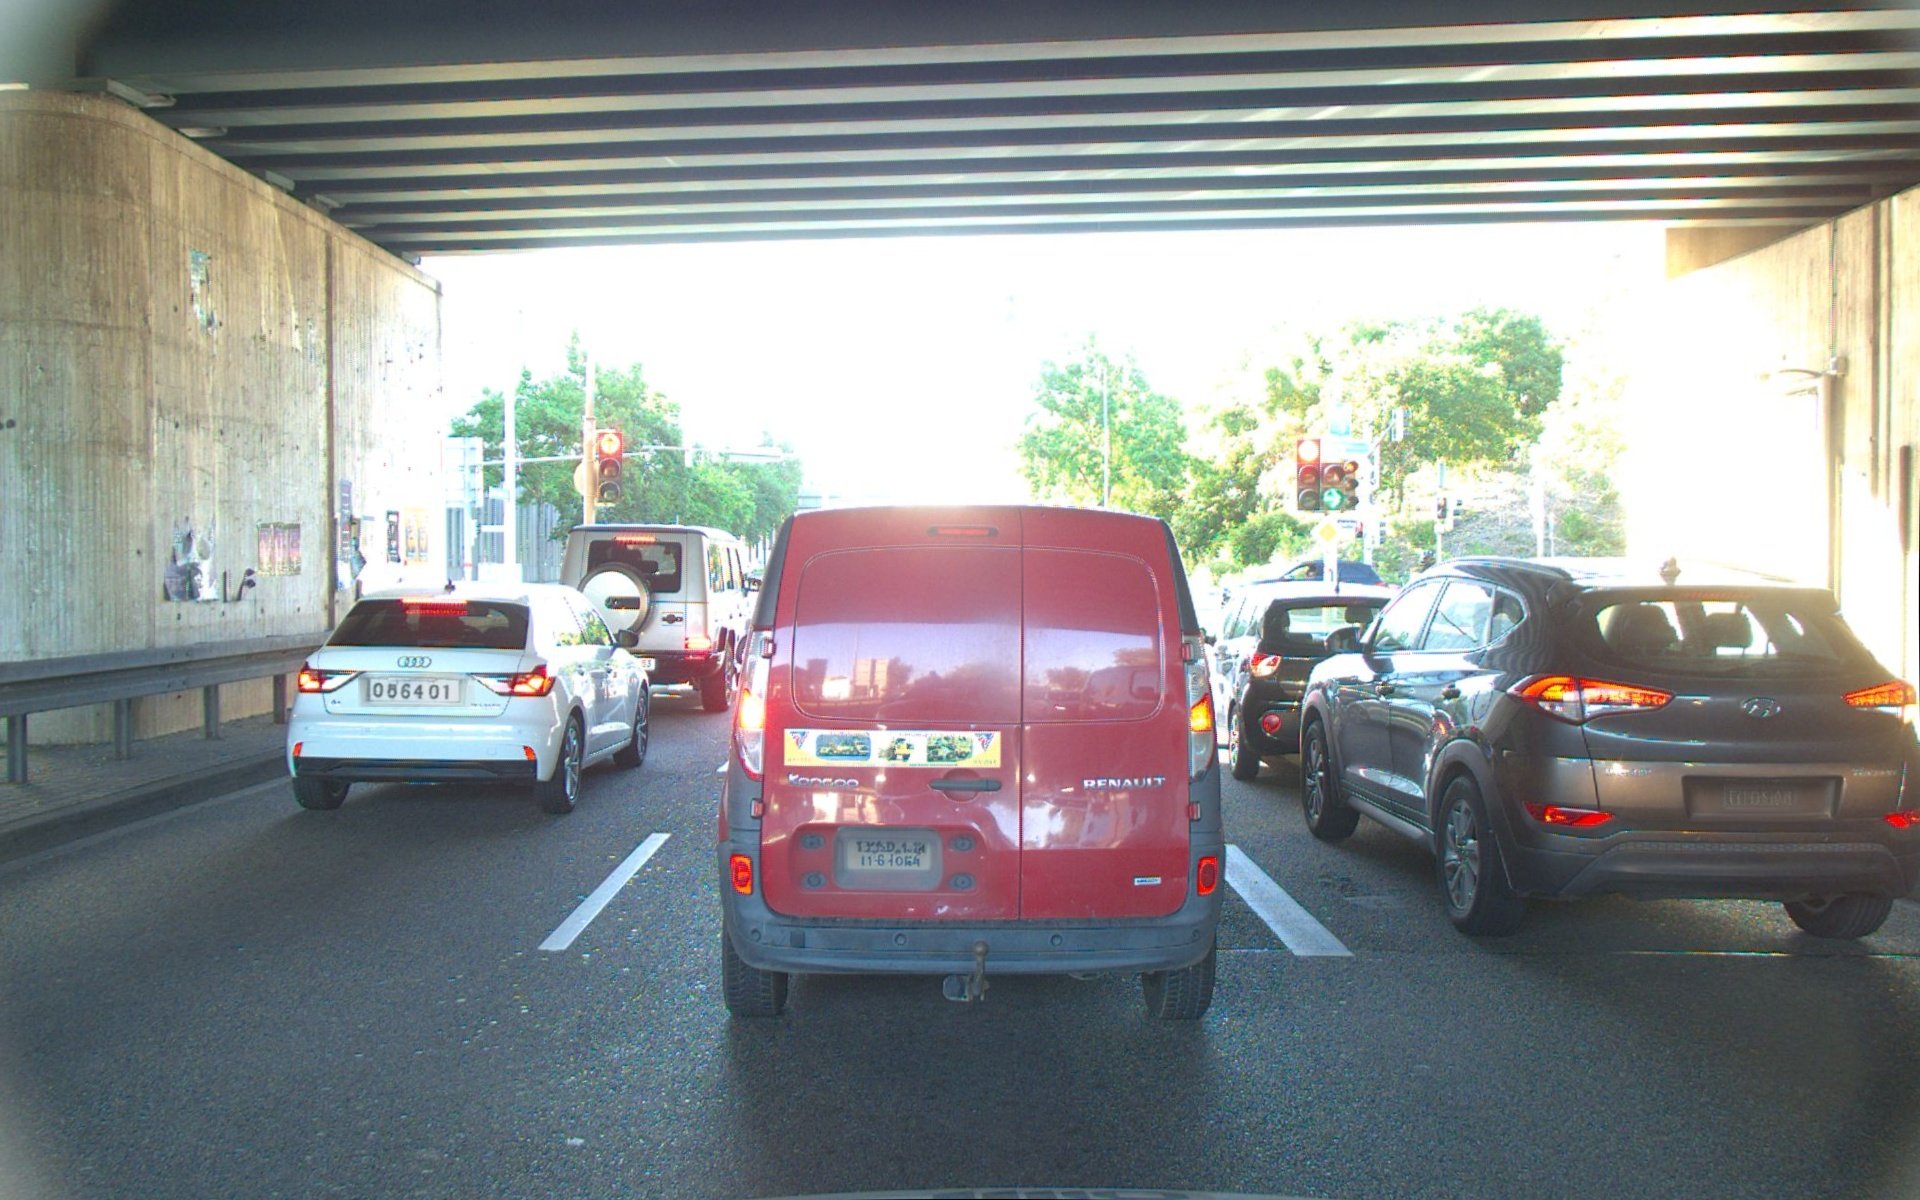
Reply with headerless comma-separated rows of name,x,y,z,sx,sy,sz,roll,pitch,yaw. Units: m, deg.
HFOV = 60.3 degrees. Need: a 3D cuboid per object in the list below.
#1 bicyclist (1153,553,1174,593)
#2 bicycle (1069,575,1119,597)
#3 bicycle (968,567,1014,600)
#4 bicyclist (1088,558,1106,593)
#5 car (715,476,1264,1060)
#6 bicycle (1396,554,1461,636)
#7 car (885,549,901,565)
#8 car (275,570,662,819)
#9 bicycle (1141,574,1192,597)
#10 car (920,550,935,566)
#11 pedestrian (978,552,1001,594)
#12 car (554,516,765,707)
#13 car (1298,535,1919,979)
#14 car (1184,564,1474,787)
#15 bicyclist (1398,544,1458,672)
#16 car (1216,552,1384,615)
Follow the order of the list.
bicyclist,7.974,-1.056,64.766,0.739,1.569,0.696,0,0,0
bicycle,5.309,-0.552,65.523,1.875,0.882,0.605,0,0,-5
bicycle,1.200,-0.632,63.860,1.696,1.254,0.557,0,0,-7
bicyclist,5.428,-0.968,65.545,0.640,1.352,0.602,1,0,-4
car,0.069,0.509,7.148,1.684,1.795,3.999,1,0,-1
bicycle,6.197,-0.062,21.934,0.662,1.042,1.530,1,0,10
car,-9.094,-5.842,224.885,1.953,2.049,3.999,1,0,-1
car,-3.221,0.538,11.602,1.658,1.434,3.812,1,0,-2
bicycle,8.066,-0.568,64.767,1.913,0.889,0.699,0,0,0
car,-4.323,-5.594,220.785,1.953,2.049,3.999,1,0,-1
pedestrian,1.150,-1.037,63.856,0.820,1.581,0.556,0,0,-7
car,-3.317,0.102,18.908,1.777,1.937,3.812,1,0,-2
car,3.071,0.585,8.361,1.742,1.684,3.989,1,1,-2
car,2.936,0.506,13.939,1.618,1.579,3.865,1,1,1
bicyclist,6.197,0.106,21.922,0.663,1.657,0.644,1,0,10
car,9.391,-0.447,45.974,4.257,1.635,2.000,1,0,1
